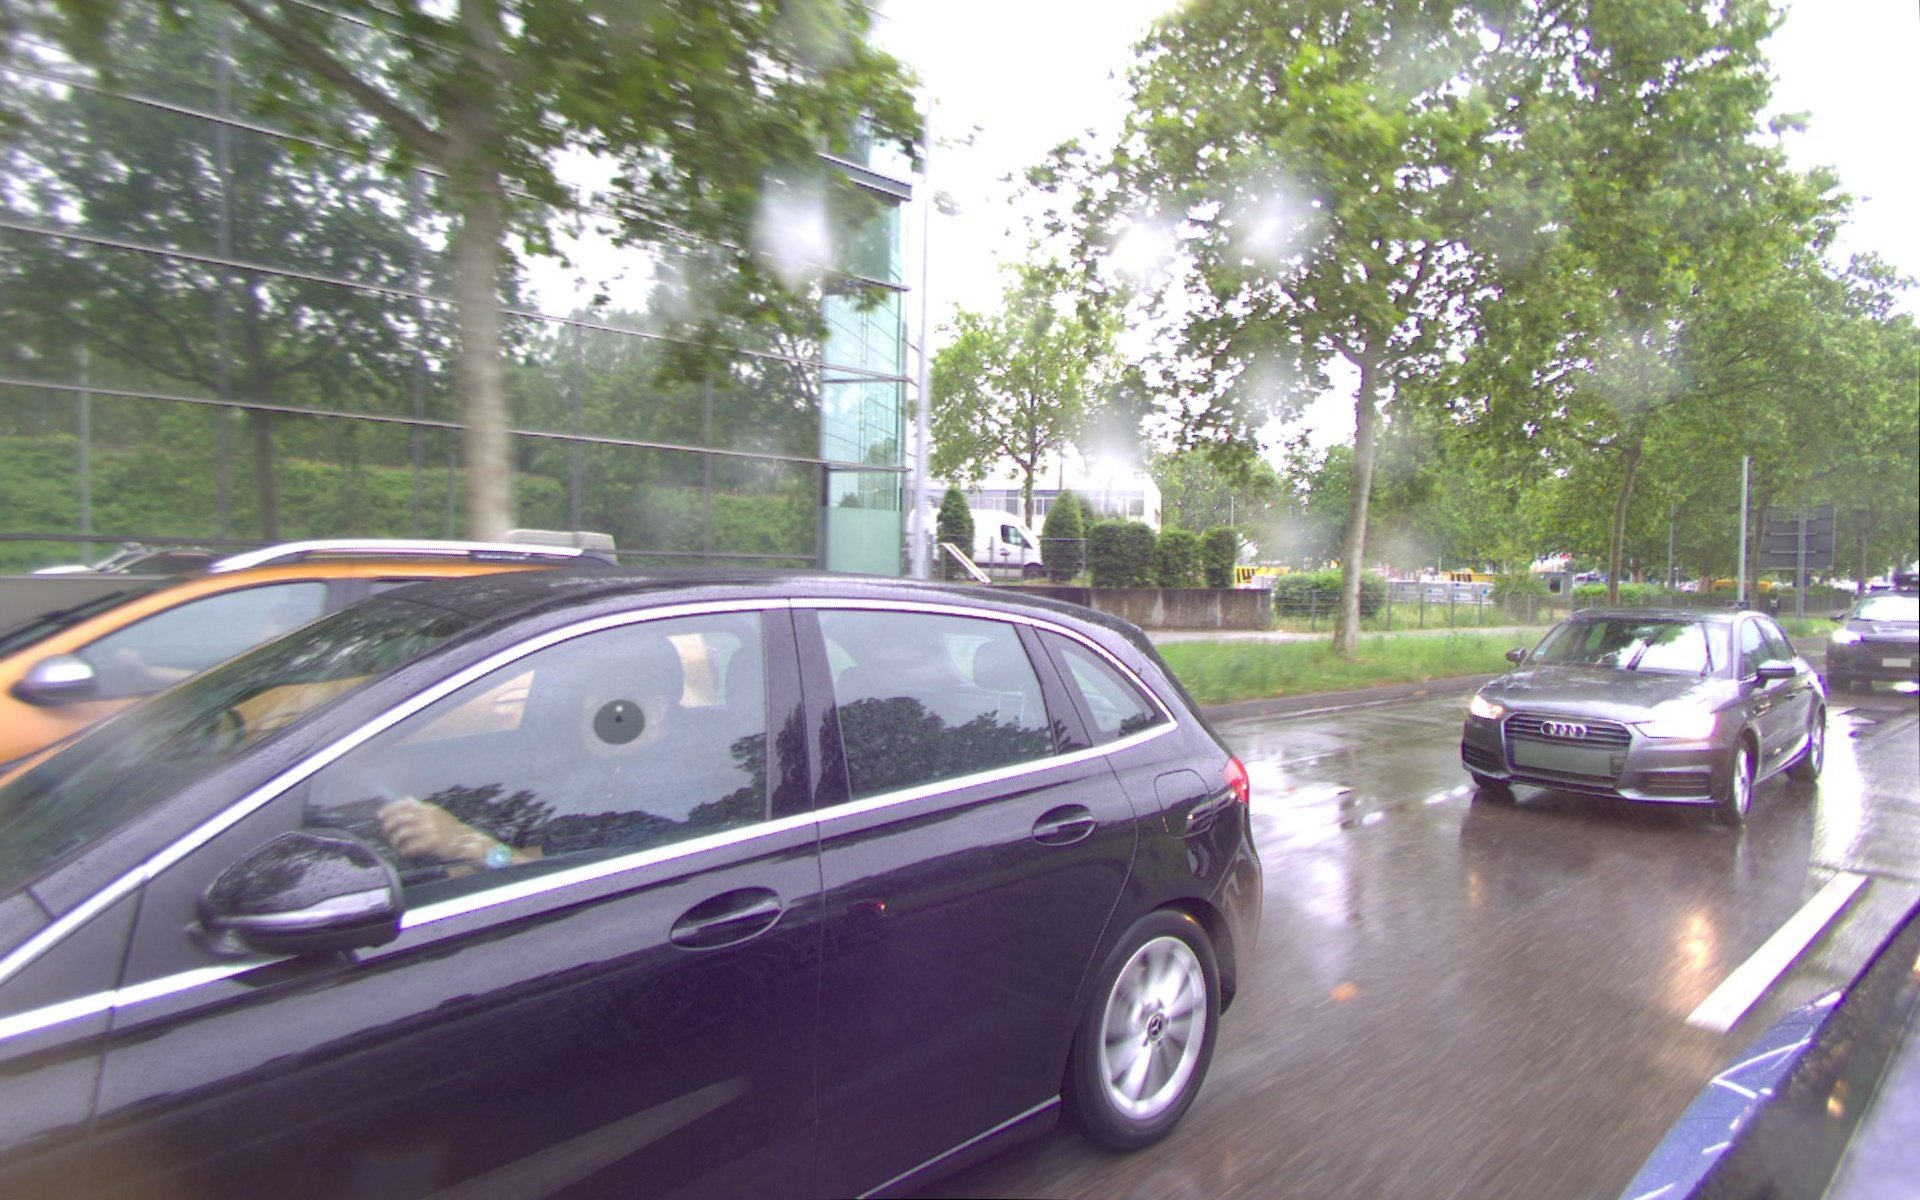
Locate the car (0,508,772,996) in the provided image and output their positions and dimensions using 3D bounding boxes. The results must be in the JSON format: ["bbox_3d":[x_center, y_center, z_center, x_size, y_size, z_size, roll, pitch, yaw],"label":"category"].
[{"bbox_3d":[-3.162,0.460,4.678,4.094,1.652,1.905,-1,3,-38],"label":"car"}]

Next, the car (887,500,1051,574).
[{"bbox_3d":[0.346,-2.211,36.332,5.611,2.487,1.992,0,0,14],"label":"car"}]

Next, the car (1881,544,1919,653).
[{"bbox_3d":[23.806,-0.031,24.198,4.890,2.460,1.998,0,2,-41],"label":"car"}]

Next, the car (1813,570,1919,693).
[{"bbox_3d":[15.486,0.445,16.288,4.252,1.769,1.998,0,2,-41],"label":"car"}]

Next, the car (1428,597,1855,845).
[{"bbox_3d":[5.387,0.701,7.845,3.688,1.415,1.839,0,1,-41],"label":"car"}]

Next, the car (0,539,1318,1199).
[{"bbox_3d":[-1.044,0.659,2.401,4.017,1.542,1.873,-1,3,-42],"label":"car"}]
